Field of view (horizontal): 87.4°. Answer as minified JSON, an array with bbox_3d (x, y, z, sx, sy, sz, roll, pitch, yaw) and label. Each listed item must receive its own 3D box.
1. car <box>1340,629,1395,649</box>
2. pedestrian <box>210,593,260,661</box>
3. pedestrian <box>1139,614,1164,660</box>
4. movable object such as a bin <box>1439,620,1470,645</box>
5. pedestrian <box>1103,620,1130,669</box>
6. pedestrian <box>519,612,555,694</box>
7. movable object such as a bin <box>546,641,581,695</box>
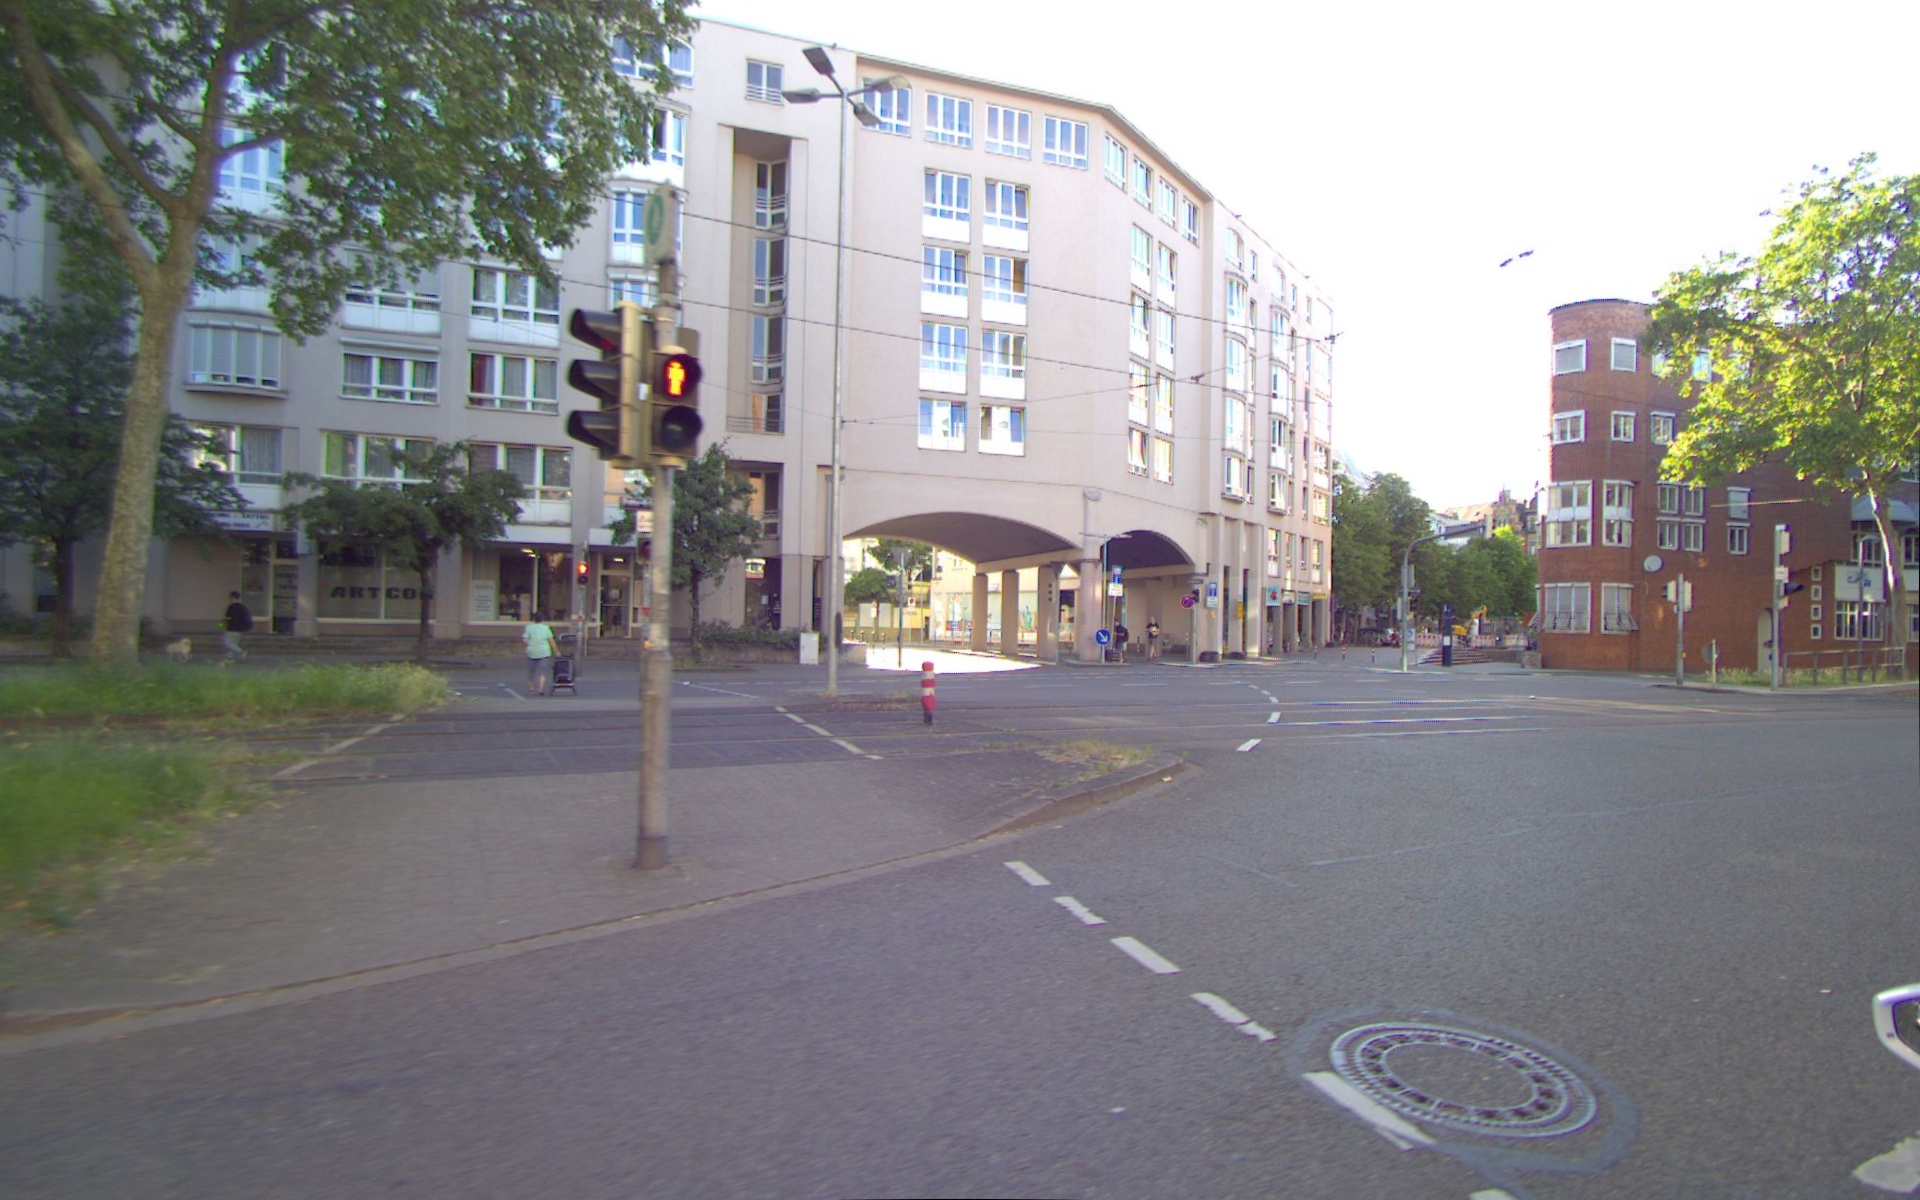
[{"bbox_3d":[32.728,3.123,80.594,3.926,1.419,1.998,1,-1,28],"label":"car"},{"bbox_3d":[-18.050,0.680,25.029,0.776,1.660,0.706,1,-1,-18],"label":"pedestrian"},{"bbox_3d":[8.639,1.677,45.363,0.822,2.040,0.886,1,-1,30],"label":"pedestrian"},{"bbox_3d":[47.168,3.118,95.803,2.769,2.341,1.907,2,-2,-44],"label":"movable object such as a bin"},{"bbox_3d":[6.113,1.728,39.160,0.739,1.894,0.855,1,-1,-15],"label":"pedestrian"},{"bbox_3d":[-7.965,0.991,18.927,0.526,1.523,0.618,1,-1,-16],"label":"pedestrian"},{"bbox_3d":[-7.360,1.260,18.666,0.530,0.966,0.510,1,-1,-16],"label":"movable object such as a bin"}]
